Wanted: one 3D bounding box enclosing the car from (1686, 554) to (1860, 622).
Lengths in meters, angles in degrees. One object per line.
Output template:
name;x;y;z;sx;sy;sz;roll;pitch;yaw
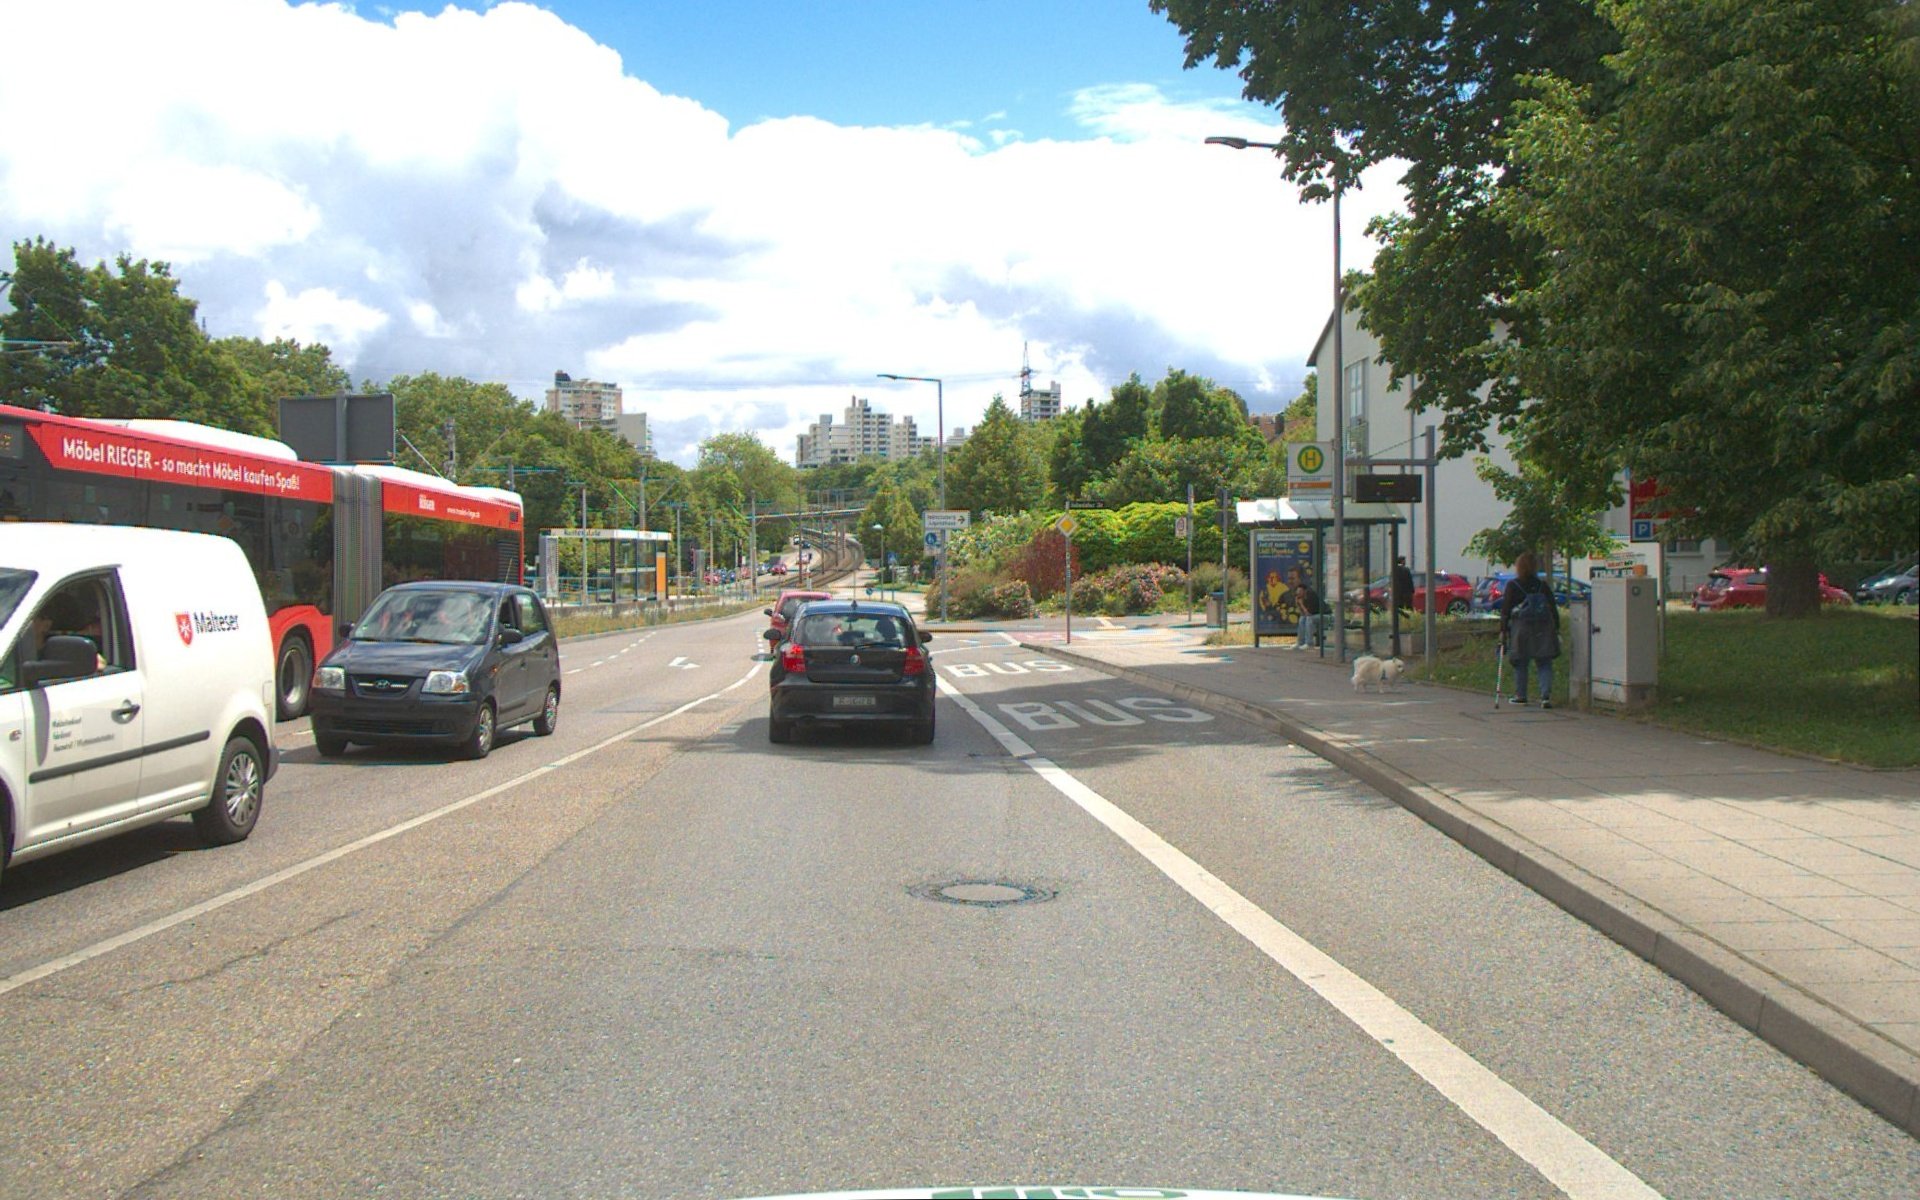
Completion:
car;20.969;-0.326;42.745;3.612;1.672;1.829;-1;2;-2

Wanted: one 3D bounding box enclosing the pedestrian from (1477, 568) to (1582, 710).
pedestrian;5.991;0.398;17.443;0.802;1.449;0.830;-1;0;1

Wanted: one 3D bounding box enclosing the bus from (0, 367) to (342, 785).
bus;-8.579;-0.212;14.310;2.670;3.163;9.706;0;1;1

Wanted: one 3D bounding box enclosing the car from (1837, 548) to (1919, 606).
car;30.058;-0.741;52.028;3.904;1.753;1.909;-1;1;1

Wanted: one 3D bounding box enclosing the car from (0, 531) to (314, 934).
car;-4.946;0.574;8.266;1.726;1.692;4.504;-2;0;-2

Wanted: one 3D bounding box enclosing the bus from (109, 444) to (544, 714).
bus;-8.482;-0.242;23.691;2.670;3.123;8.964;0;0;1

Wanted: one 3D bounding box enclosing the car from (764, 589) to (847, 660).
car;-3.433;0.508;36.780;1.731;1.457;3.475;-1;1;-5

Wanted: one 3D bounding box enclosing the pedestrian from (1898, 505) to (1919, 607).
pedestrian;17.352;-0.789;29.358;0.964;1.791;0.859;-1;0;10

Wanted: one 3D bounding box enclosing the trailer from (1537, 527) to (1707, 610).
trailer;20.702;-1.011;51.870;4.445;2.530;2.221;-1;2;-2

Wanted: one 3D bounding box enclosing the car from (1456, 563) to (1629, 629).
car;14.911;-0.125;42.464;3.717;1.482;1.896;-2;2;-2

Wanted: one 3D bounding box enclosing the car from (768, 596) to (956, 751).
car;-1.051;0.708;17.988;1.779;1.445;3.997;-1;0;-3

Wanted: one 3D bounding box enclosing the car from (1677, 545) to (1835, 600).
car;24.985;-0.881;51.985;3.998;1.528;2.000;-2;2;-2

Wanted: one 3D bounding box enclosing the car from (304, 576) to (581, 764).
car;-4.840;0.583;15.978;1.498;1.578;3.732;1;0;0

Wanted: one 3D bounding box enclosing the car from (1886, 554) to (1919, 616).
car;26.608;-0.441;42.982;3.997;1.586;1.999;-1;1;-4

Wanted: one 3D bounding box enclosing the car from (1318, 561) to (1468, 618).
car;13.405;-0.333;51.318;4.075;1.588;1.999;-1;3;-5

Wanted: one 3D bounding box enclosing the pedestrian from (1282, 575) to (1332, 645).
pedestrian;6.581;0.183;31.392;0.810;1.281;0.686;-1;1;3

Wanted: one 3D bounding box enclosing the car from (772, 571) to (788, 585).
car;-21.581;-2.654;198.162;1.685;1.529;2.965;-1;2;-3
